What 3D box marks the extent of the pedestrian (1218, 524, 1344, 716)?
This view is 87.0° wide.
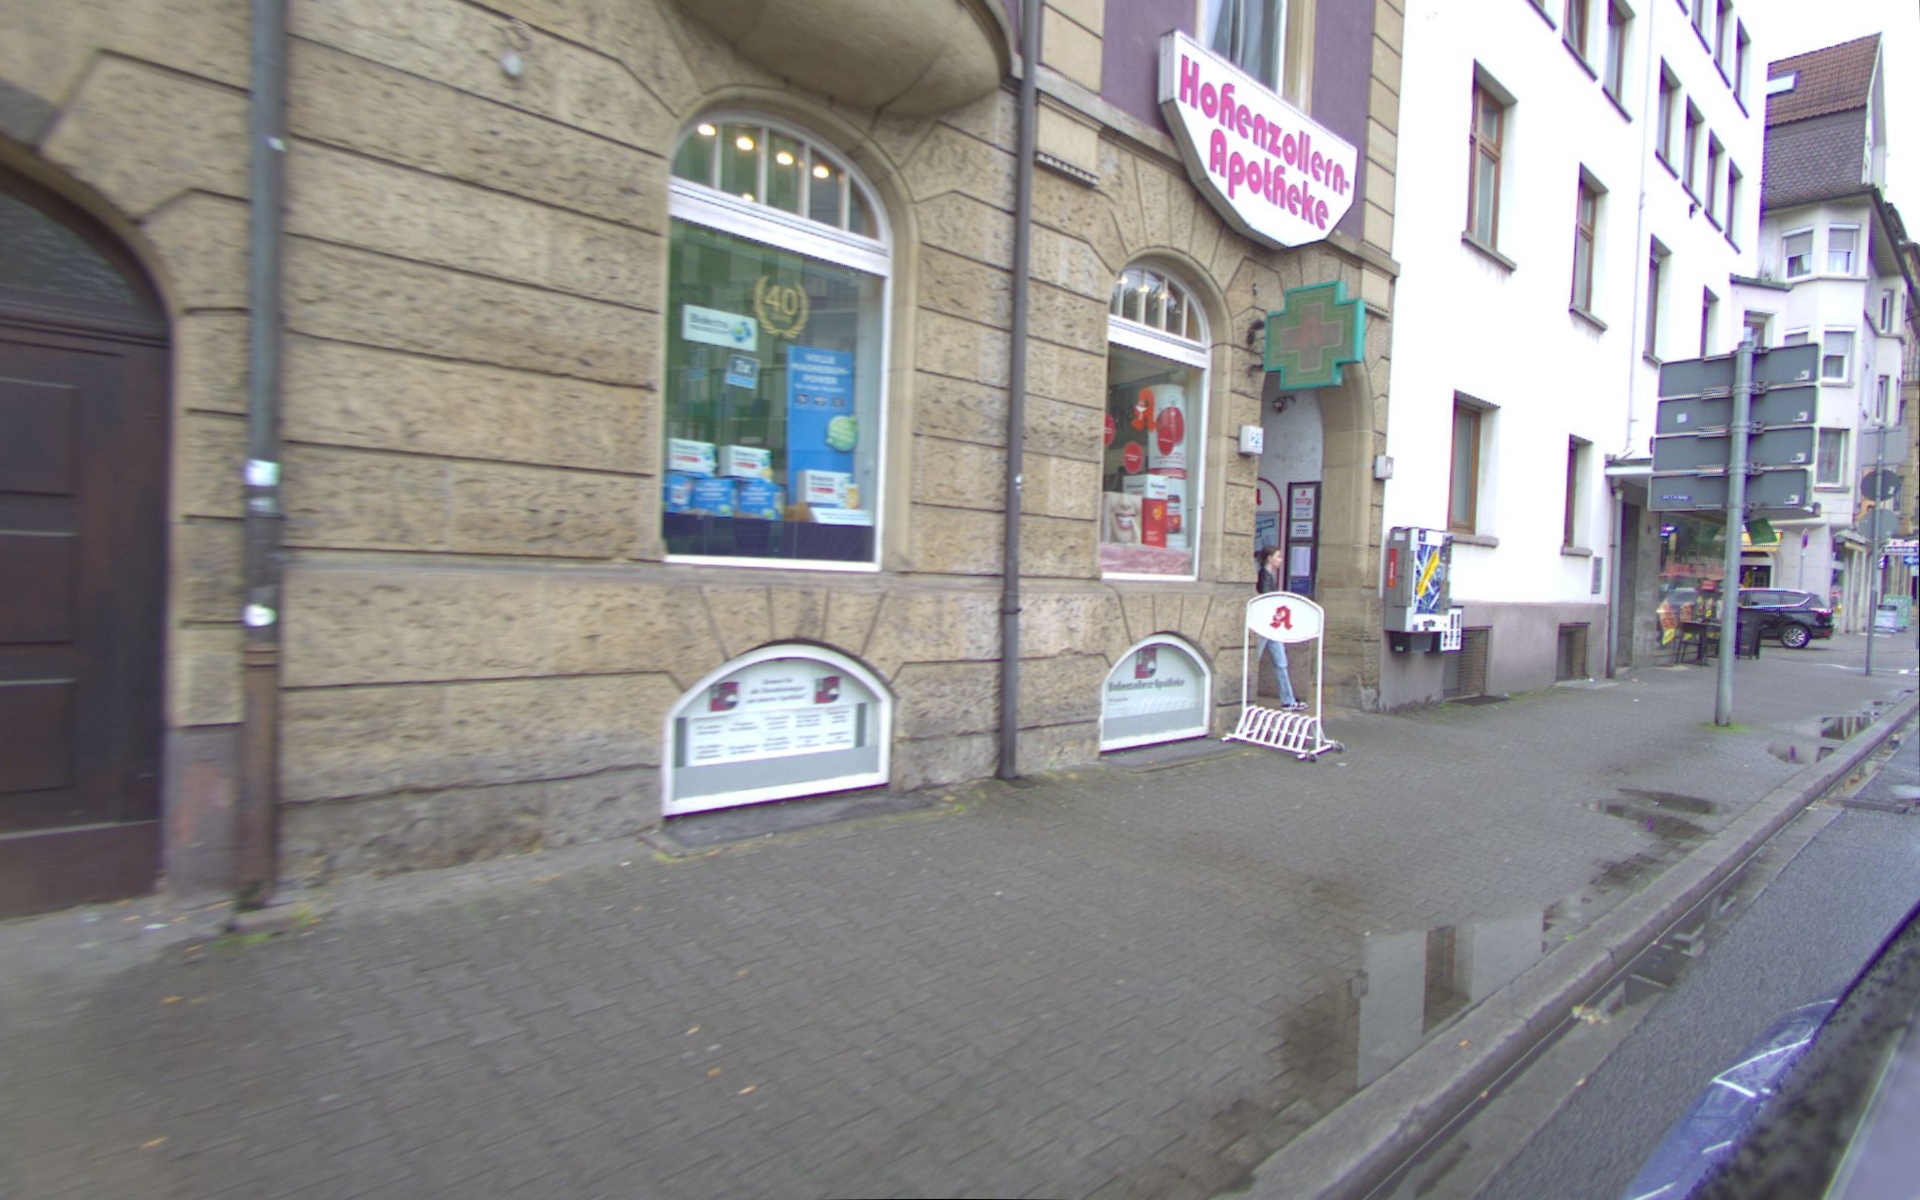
[{"bbox_3d":[3.072,0.161,9.699,0.898,1.741,0.664,3,2,44],"label":"pedestrian"}]

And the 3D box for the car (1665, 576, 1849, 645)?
[{"bbox_3d":[23.595,0.262,30.123,4.131,1.793,1.847,3,2,39],"label":"car"}]
